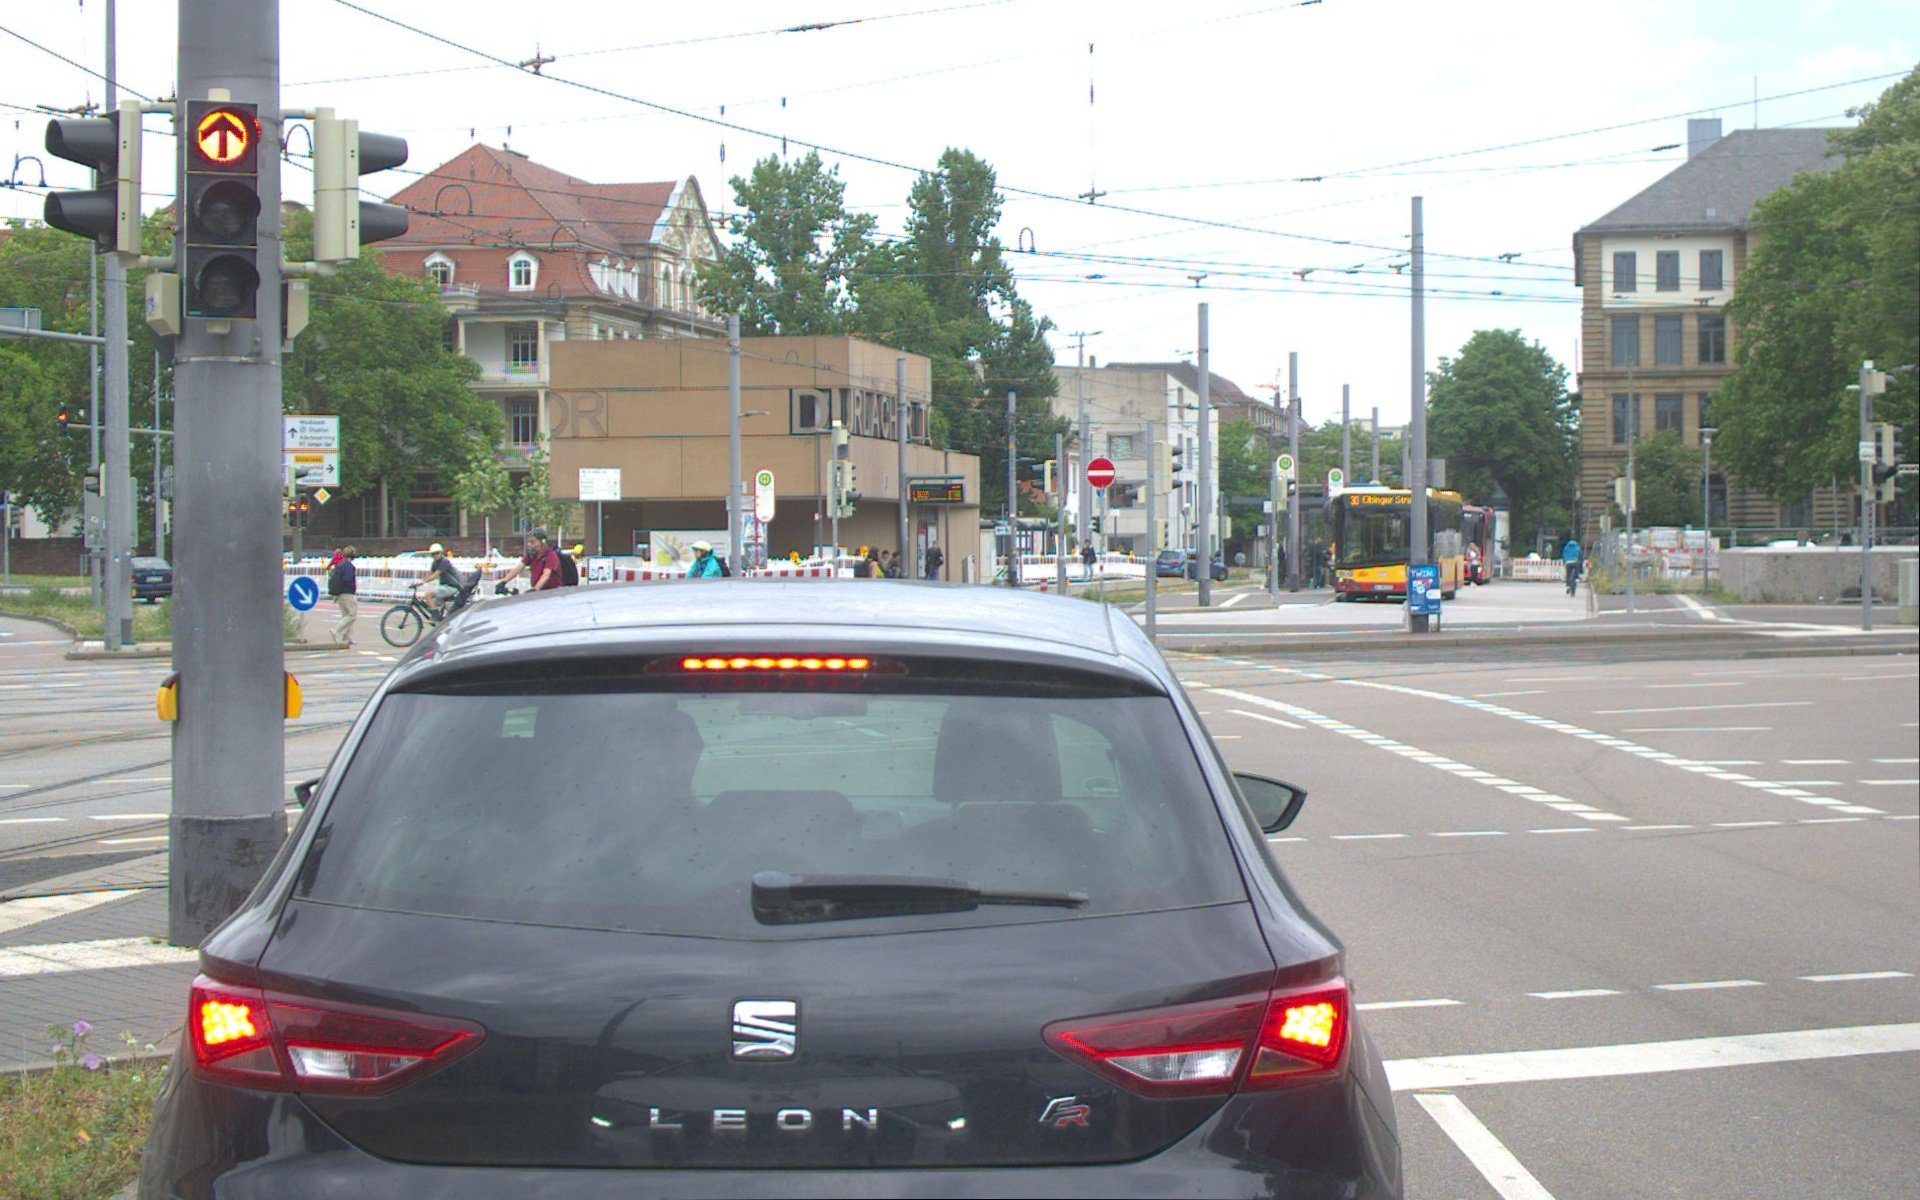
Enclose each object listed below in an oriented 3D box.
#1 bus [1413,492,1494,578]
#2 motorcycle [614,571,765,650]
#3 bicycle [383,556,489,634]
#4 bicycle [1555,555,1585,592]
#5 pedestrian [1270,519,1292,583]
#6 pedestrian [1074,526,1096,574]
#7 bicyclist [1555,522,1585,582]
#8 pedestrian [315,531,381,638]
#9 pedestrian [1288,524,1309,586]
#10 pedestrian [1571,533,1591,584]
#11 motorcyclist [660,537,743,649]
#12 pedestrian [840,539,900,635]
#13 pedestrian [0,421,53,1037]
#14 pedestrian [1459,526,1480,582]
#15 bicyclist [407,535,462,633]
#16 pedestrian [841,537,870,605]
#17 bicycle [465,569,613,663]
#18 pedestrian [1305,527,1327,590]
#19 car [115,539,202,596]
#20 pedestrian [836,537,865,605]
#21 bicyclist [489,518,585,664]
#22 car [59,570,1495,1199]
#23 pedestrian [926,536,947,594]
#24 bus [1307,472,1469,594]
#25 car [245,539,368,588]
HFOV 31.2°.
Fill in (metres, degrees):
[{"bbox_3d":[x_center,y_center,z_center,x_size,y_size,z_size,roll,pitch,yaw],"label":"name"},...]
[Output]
[{"bbox_3d":[19.667,-2.572,136.662,2.655,3.272,10.990,0,1,11],"label":"bus"},{"bbox_3d":[-4.019,0.152,51.202,2.135,1.135,0.744,-1,1,-33],"label":"motorcycle"},{"bbox_3d":[-9.066,-0.097,59.476,1.730,1.317,0.645,-1,1,-17],"label":"bicycle"},{"bbox_3d":[18.912,-0.830,106.557,0.866,1.101,2.301,0,1,12],"label":"bicycle"},{"bbox_3d":[9.713,-1.487,103.950,0.621,1.911,0.698,0,1,9],"label":"pedestrian"},{"bbox_3d":[5.012,-2.015,137.982,0.622,1.911,0.709,-1,0,25],"label":"pedestrian"},{"bbox_3d":[18.946,-1.482,106.705,0.872,1.845,1.047,0,1,12],"label":"bicyclist"},{"bbox_3d":[-11.165,-0.290,62.722,1.027,1.927,0.701,-1,1,-25],"label":"pedestrian"},{"bbox_3d":[10.402,-1.383,105.640,0.621,1.911,0.710,0,1,3],"label":"pedestrian"},{"bbox_3d":[24.552,-1.630,135.967,0.662,2.007,0.692,0,1,0],"label":"pedestrian"},{"bbox_3d":[-3.857,-0.106,51.297,0.977,1.644,0.750,-1,0,-33],"label":"motorcyclist"},{"bbox_3d":[-1.823,-0.267,69.436,0.700,1.927,1.028,0,1,38],"label":"pedestrian"},{"bbox_3d":[-3.489,0.396,10.630,1.101,1.900,0.735,0,0,-43],"label":"pedestrian"},{"bbox_3d":[18.544,-1.675,125.083,0.662,2.007,0.692,0,1,0],"label":"pedestrian"},{"bbox_3d":[-9.097,-0.280,59.478,0.854,1.667,0.654,-1,1,-16],"label":"bicyclist"},{"bbox_3d":[-2.954,-0.815,97.373,0.708,1.911,0.623,0,1,7],"label":"pedestrian"},{"bbox_3d":[-5.530,0.196,45.282,0.776,1.180,2.028,0,1,35],"label":"bicycle"},{"bbox_3d":[10.832,-1.261,104.576,0.621,1.911,0.698,0,1,9],"label":"pedestrian"},{"bbox_3d":[-24.445,-0.977,104.763,1.993,1.678,4.001,0,0,-22],"label":"car"},{"bbox_3d":[-3.077,-0.817,96.576,0.708,1.911,0.623,0,1,7],"label":"pedestrian"},{"bbox_3d":[-5.565,-0.124,45.240,0.777,1.891,0.995,0,1,35],"label":"bicyclist"},{"bbox_3d":[-0.352,0.688,5.995,1.704,1.444,3.813,0,1,-4],"label":"car"},{"bbox_3d":[-0.777,-1.153,113.311,0.621,1.911,0.710,0,1,3],"label":"pedestrian"},{"bbox_3d":[11.760,-1.810,93.452,2.962,3.112,11.531,0,1,14],"label":"bus"},{"bbox_3d":[-23.365,-1.297,123.034,3.987,1.678,2.000,-1,0,1],"label":"car"}]
